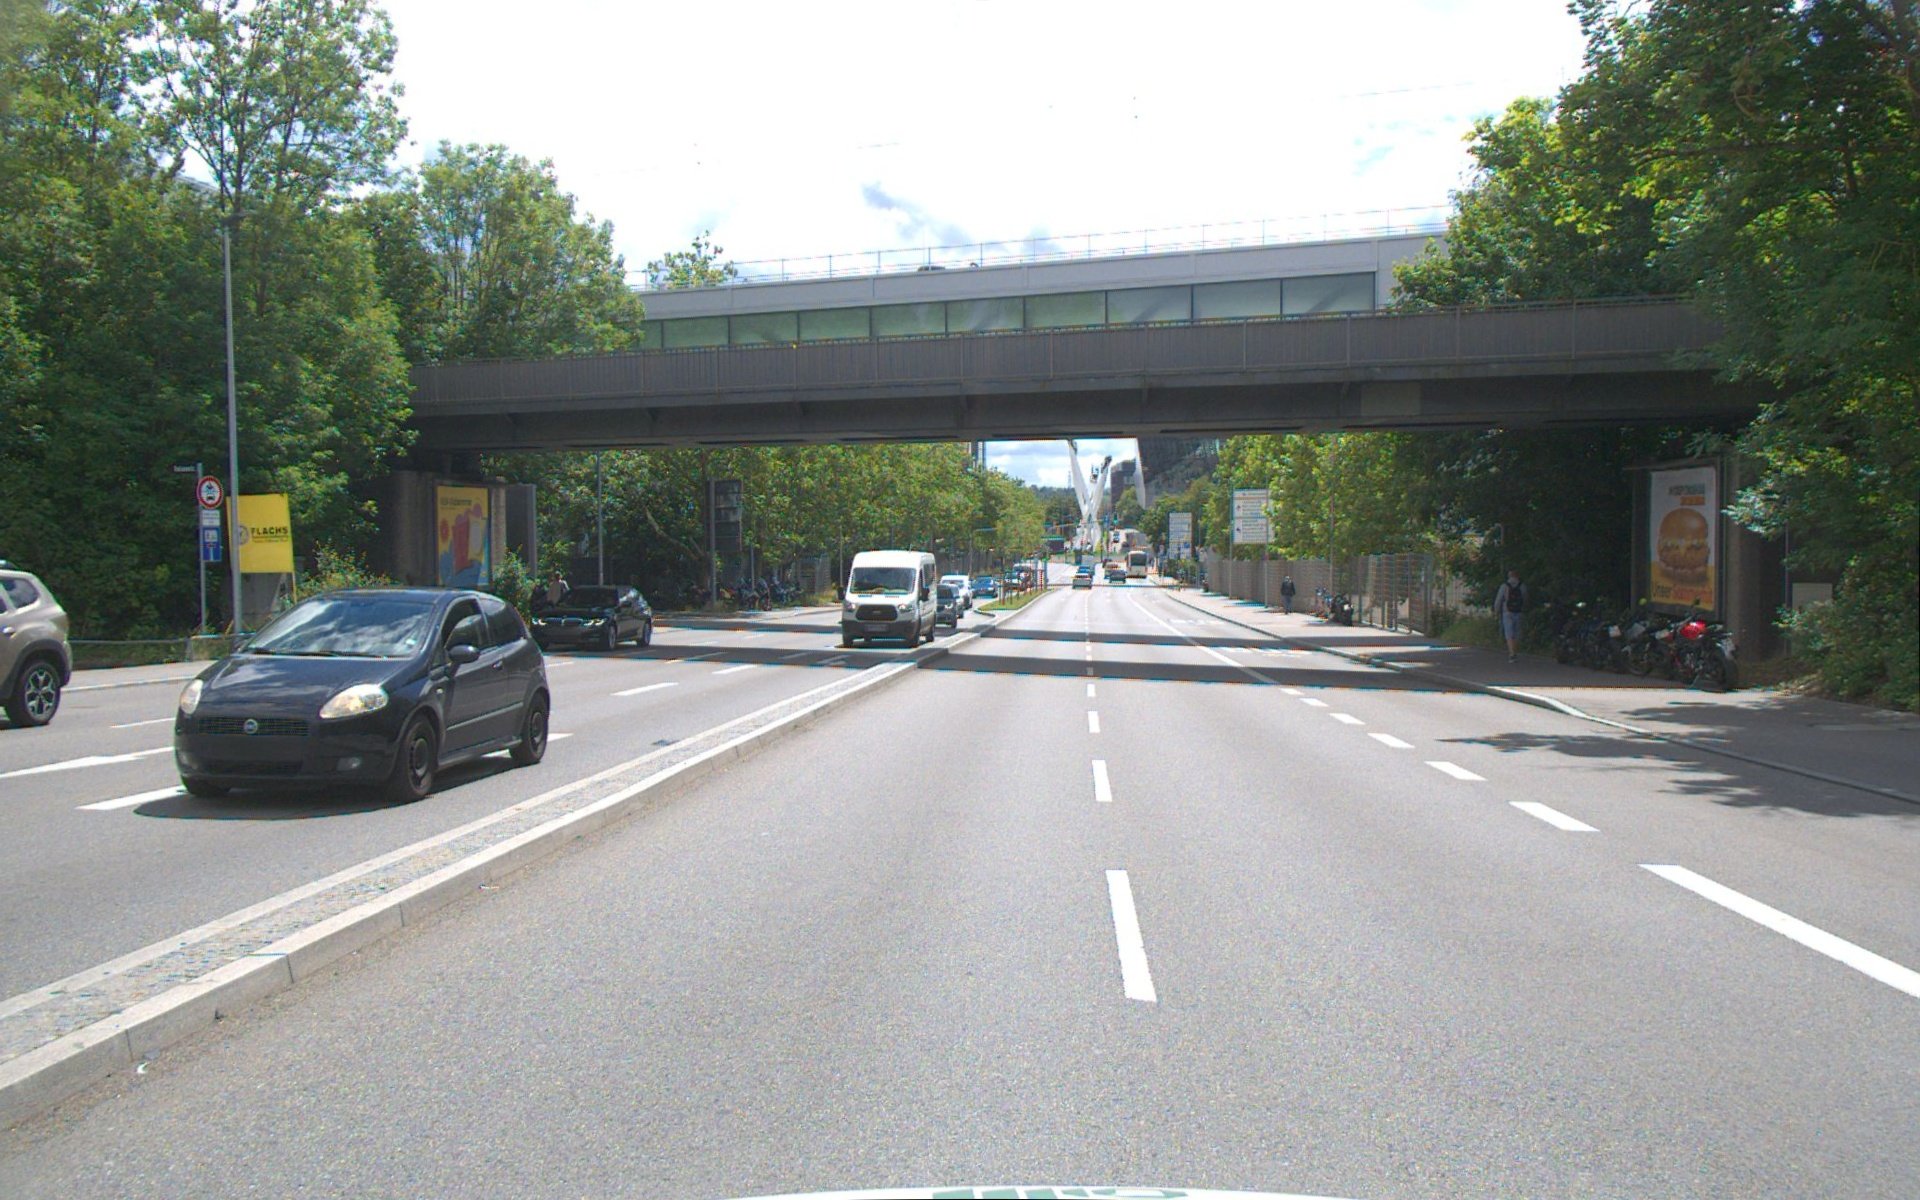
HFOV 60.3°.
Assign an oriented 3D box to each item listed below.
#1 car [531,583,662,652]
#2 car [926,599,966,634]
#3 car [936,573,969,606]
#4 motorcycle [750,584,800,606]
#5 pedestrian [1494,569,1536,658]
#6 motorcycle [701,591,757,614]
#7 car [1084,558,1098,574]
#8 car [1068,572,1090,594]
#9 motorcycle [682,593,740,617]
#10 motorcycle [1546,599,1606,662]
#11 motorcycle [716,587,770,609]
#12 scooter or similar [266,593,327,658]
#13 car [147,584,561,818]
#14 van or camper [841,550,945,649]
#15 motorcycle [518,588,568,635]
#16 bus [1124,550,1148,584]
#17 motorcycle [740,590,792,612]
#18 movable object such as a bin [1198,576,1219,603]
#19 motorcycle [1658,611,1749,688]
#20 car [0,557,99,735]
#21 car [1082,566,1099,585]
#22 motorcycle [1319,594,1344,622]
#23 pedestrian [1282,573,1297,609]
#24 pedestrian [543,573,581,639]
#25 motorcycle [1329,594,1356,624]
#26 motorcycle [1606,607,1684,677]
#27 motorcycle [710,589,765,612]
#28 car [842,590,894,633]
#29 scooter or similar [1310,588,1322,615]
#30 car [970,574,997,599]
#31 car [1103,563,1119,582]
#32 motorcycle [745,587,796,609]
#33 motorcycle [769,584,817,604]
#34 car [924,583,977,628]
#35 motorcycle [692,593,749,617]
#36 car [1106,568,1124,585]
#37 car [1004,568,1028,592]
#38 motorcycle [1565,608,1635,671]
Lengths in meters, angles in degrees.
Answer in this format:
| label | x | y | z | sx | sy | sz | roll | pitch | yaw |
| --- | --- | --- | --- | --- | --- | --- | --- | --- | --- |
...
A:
| label | x | y | z | sx | sy | sz | roll | pitch | yaw |
| --- | --- | --- | --- | --- | --- | --- | --- | --- | --- |
| car | -8.366 | 0.395 | 38.488 | 1.694 | 1.481 | 4.560 | 0 | 0 | 5 |
| car | -0.592 | 0.725 | 73.228 | 1.665 | 1.461 | 3.925 | 0 | 1 | 1 |
| car | -0.384 | -0.576 | 90.215 | 1.665 | 1.728 | 3.925 | 0 | 0 | 1 |
| motorcycle | -9.854 | -0.257 | 88.076 | 2.523 | 1.126 | 0.795 | 0 | 0 | 16 |
| pedestrian | 11.846 | 0.289 | 35.326 | 0.610 | 1.891 | 0.872 | 0 | -1 | 2 |
| motorcycle | -10.771 | 0.119 | 77.234 | 2.497 | 1.068 | 0.675 | 1 | 0 | 10 |
| car | 18.146 | -4.697 | 228.523 | 1.834 | 2.047 | 3.697 | 0 | 5 | 3 |
| car | 11.178 | -1.638 | 155.342 | 1.889 | 1.802 | 4.005 | 0 | 5 | 6 |
| motorcycle | -11.255 | 0.234 | 74.861 | 2.497 | 1.068 | 0.675 | 1 | 0 | 10 |
| motorcycle | 12.309 | 0.600 | 33.093 | 0.536 | 1.219 | 1.903 | 0 | 0 | 1 |
| motorcycle | -10.478 | -0.101 | 79.819 | 2.497 | 1.068 | 0.675 | 1 | 0 | 10 |
| scooter or similar | -12.873 | 0.488 | 32.111 | 0.598 | 1.232 | 1.262 | 0 | 1 | 3 |
| car | -4.413 | 0.637 | 12.673 | 1.603 | 1.496 | 3.778 | 0 | 1 | 3 |
| van or camper | -1.695 | -0.035 | 44.146 | 1.965 | 2.443 | 6.403 | 0 | 0 | 5 |
| motorcycle | -11.359 | 0.333 | 45.146 | 0.672 | 1.231 | 2.073 | 2 | -1 | 3 |
| bus | 23.318 | -4.384 | 218.947 | 2.738 | 3.816 | 9.479 | 0 | 5 | 3 |
| motorcycle | -9.934 | 0.042 | 84.543 | 2.523 | 1.126 | 0.795 | 0 | 0 | 16 |
| movable object such as a bin | 20.477 | -0.887 | 136.237 | 1.629 | 2.170 | 1.279 | 0 | 0 | 10 |
| motorcycle | 11.584 | 0.752 | 25.833 | 0.536 | 1.130 | 2.018 | 0 | 0 | 1 |
| car | -10.291 | 0.444 | 15.717 | 1.694 | 1.743 | 4.274 | 0 | 0 | 5 |
| car | 14.753 | -2.822 | 187.599 | 1.819 | 1.734 | 4.005 | 0 | 6 | 3 |
| motorcycle | 14.808 | 0.311 | 65.955 | 0.551 | 1.047 | 2.631 | -1 | 1 | 3 |
| pedestrian | 15.796 | -0.434 | 79.256 | 0.607 | 1.646 | 0.747 | 0 | 4 | 3 |
| pedestrian | -10.594 | 0.159 | 43.998 | 0.709 | 1.650 | 0.721 | 4 | 4 | 3 |
| motorcycle | 14.536 | 0.332 | 62.916 | 0.551 | 1.047 | 2.631 | -1 | 1 | 3 |
| motorcycle | 11.724 | 0.699 | 28.357 | 0.536 | 1.130 | 2.018 | 0 | 0 | 1 |
| motorcycle | -10.558 | 0.018 | 78.406 | 2.497 | 1.068 | 0.675 | 1 | 0 | 10 |
| car | -3.514 | 0.426 | 63.733 | 1.665 | 1.578 | 3.925 | 0 | 1 | 1 |
| scooter or similar | 15.702 | 0.050 | 72.995 | 0.361 | 1.197 | 1.134 | 0 | 0 | 3 |
| car | 1.684 | -0.936 | 116.721 | 1.665 | 1.728 | 3.926 | 1 | 0 | 4 |
| car | 19.147 | -3.487 | 209.931 | 1.951 | 2.047 | 4.005 | 0 | 5 | 5 |
| motorcycle | -9.871 | -0.108 | 86.310 | 2.523 | 1.126 | 0.795 | 0 | 0 | 16 |
| motorcycle | -9.216 | -0.334 | 91.103 | 2.523 | 1.126 | 0.795 | 0 | 0 | 16 |
| car | -0.314 | 0.171 | 59.599 | 1.665 | 1.548 | 3.076 | 1 | 0 | 4 |
| motorcycle | -11.006 | 0.219 | 76.066 | 2.497 | 1.068 | 0.675 | 1 | 0 | 10 |
| car | 17.497 | -2.650 | 186.736 | 1.952 | 1.892 | 4.002 | 0 | 1 | 3 |
| car | 4.940 | -1.767 | 145.969 | 1.951 | 2.049 | 4.002 | 0 | 1 | 4 |
| motorcycle | 11.844 | 0.712 | 30.666 | 0.536 | 1.130 | 2.018 | 0 | 0 | 1 |
